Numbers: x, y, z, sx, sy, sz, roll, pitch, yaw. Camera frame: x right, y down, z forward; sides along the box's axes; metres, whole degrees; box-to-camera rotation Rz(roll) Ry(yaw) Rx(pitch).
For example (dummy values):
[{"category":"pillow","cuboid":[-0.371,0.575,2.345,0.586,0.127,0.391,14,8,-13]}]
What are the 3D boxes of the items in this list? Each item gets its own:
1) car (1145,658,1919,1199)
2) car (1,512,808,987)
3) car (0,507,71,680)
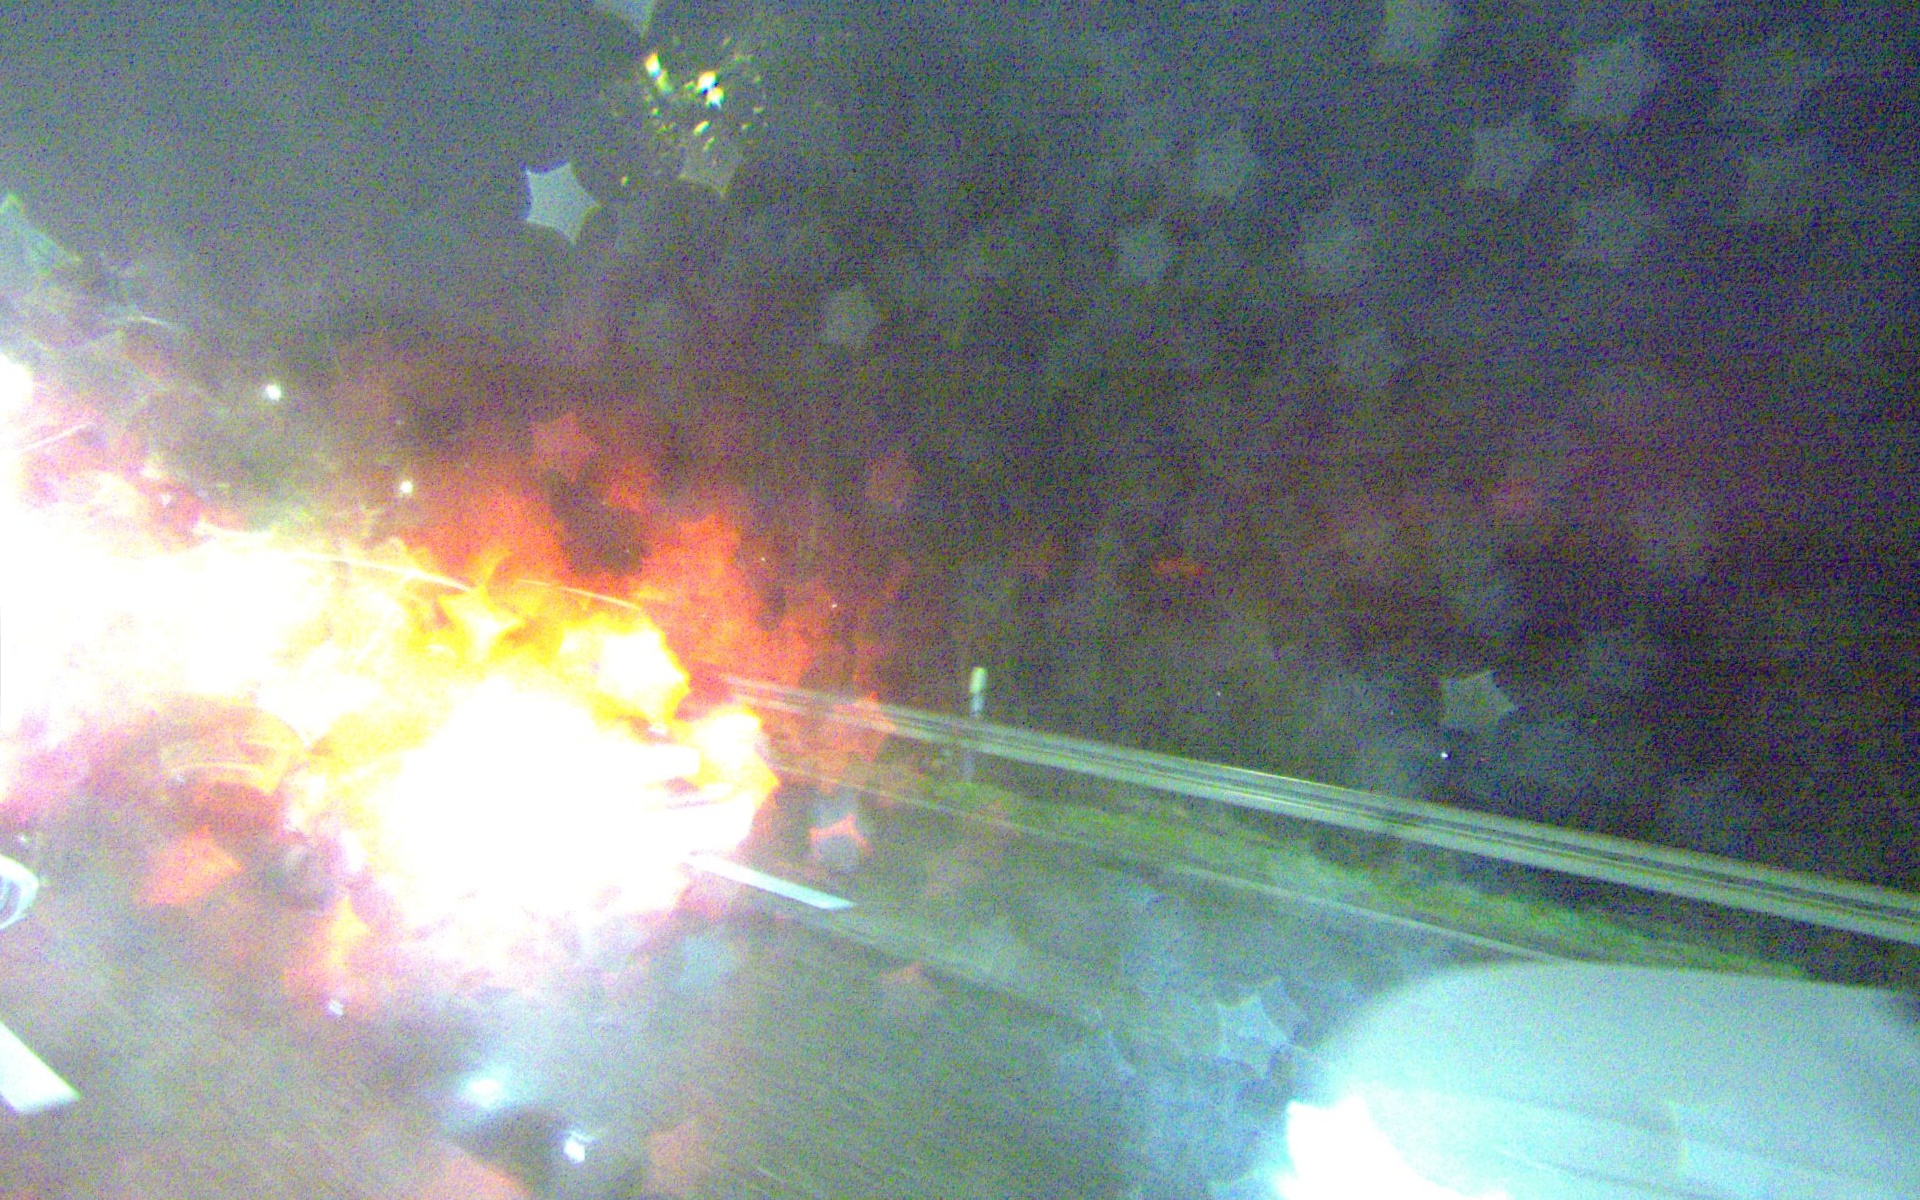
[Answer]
[{"category":"car","cuboid":[2.592,1.121,1.249,4.342,1.539,1.710,5,-2,33]},{"category":"car","cuboid":[-3.163,0.516,5.410,4.484,1.522,1.677,5,-4,32]},{"category":"car","cuboid":[-10.493,-0.264,9.624,3.893,1.539,1.681,6,-2,29]}]
